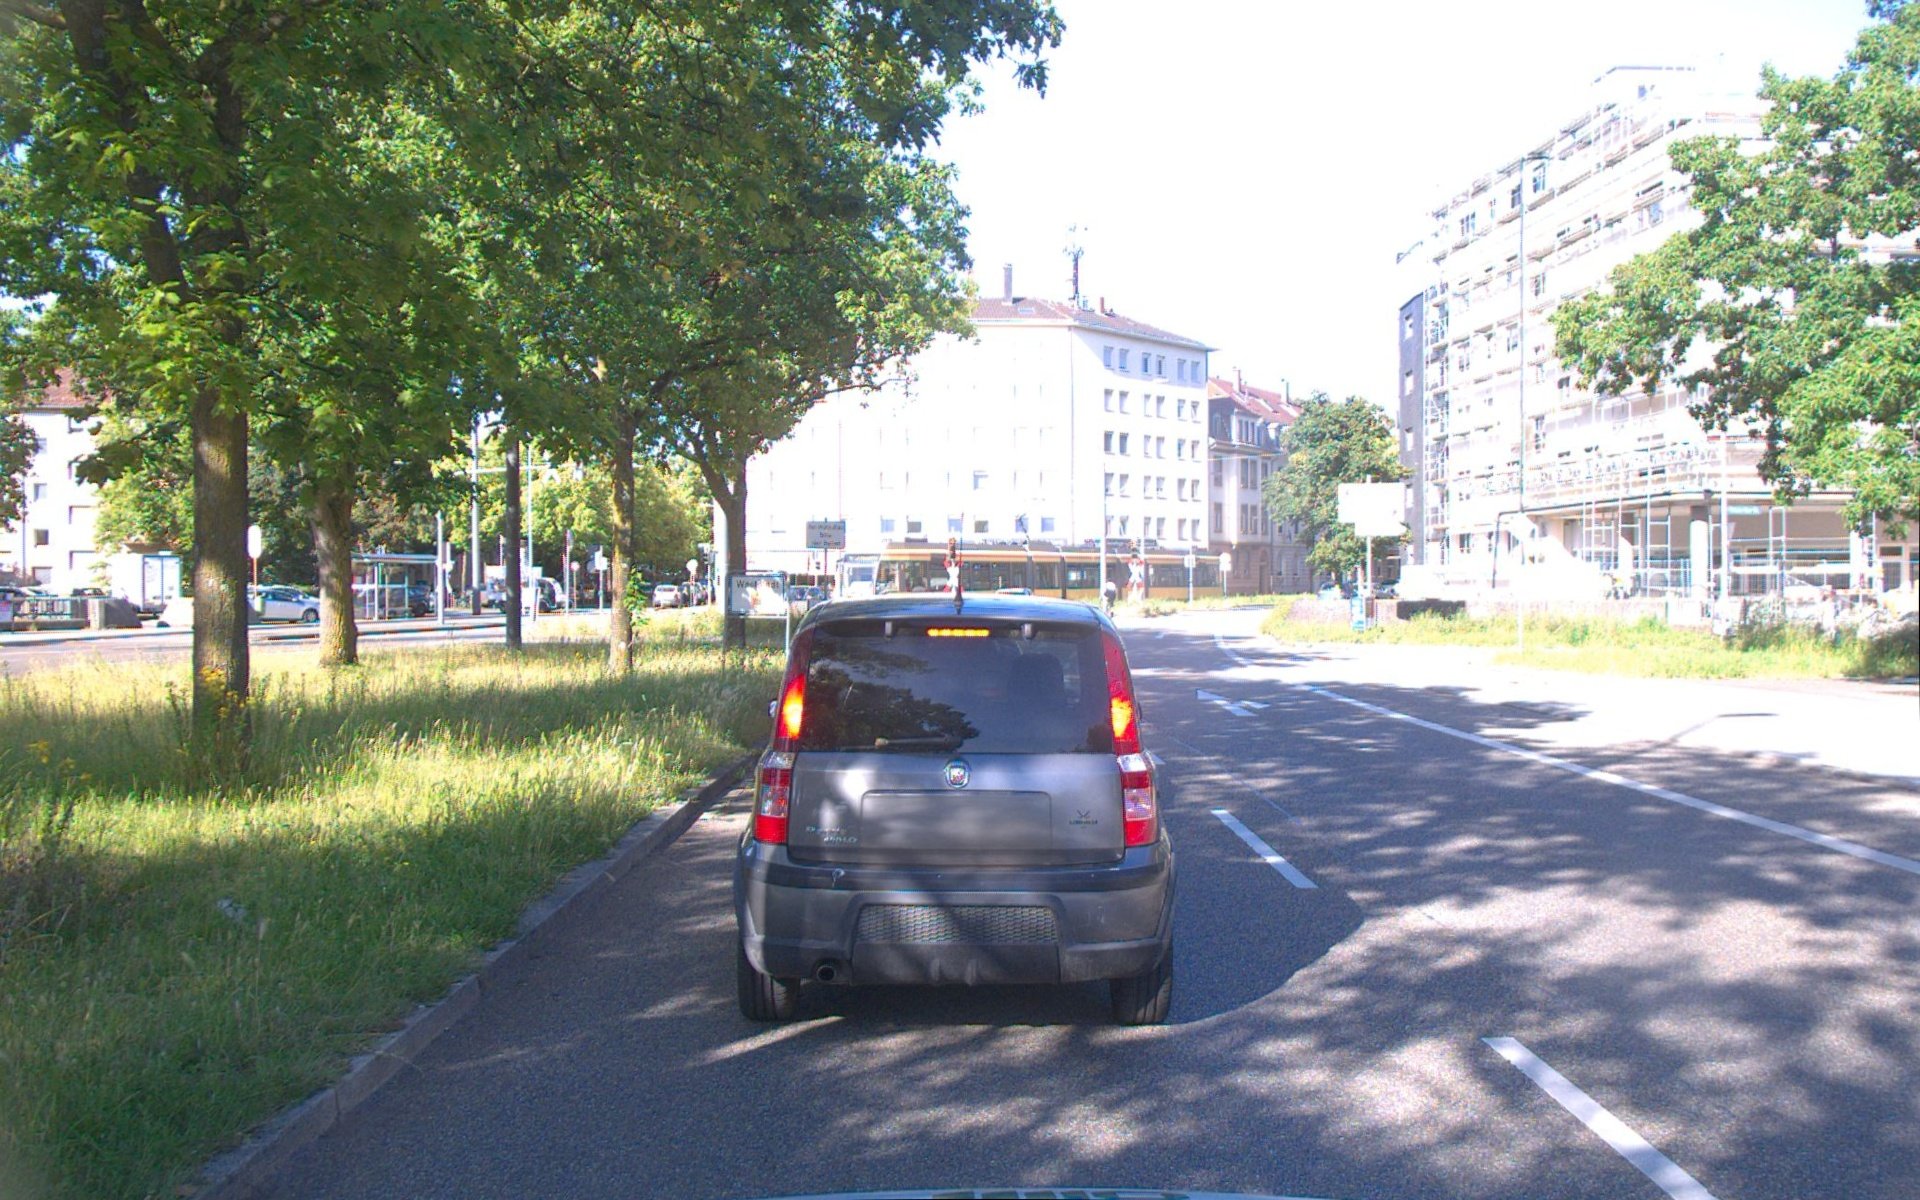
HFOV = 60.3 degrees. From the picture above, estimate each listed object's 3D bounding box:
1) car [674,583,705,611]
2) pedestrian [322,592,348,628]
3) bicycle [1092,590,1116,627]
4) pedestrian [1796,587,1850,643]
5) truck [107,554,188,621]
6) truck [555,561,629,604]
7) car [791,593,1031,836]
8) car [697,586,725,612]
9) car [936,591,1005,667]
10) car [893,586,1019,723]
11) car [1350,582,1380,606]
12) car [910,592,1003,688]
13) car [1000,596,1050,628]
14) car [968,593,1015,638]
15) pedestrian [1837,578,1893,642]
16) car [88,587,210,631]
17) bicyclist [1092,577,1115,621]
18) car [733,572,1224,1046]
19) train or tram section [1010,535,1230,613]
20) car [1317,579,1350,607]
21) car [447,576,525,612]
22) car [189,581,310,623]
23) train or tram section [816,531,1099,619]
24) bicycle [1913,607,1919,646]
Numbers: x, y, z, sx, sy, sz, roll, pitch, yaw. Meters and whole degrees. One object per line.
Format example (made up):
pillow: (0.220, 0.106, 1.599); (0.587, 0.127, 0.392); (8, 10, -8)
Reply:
car: (-20.149, -0.240, 123.279); (1.954, 2.049, 3.996); (0, 1, -5)
pedestrian: (-29.225, 0.470, 77.316); (0.904, 1.636, 0.794); (0, 0, 38)
bicycle: (4.874, 0.301, 56.072); (0.693, 1.219, 2.521); (1, 0, 2)
pedestrian: (23.021, 0.398, 44.127); (0.877, 1.472, 0.962); (0, 0, -15)
truck: (-35.740, -0.551, 72.684); (3.932, 2.854, 1.987); (0, 1, 44)
truck: (-28.354, -1.350, 127.363); (5.371, 3.224, 2.341); (0, 0, 28)
car: (-0.315, 0.678, 11.623); (1.434, 1.425, 3.393); (0, 1, -1)
car: (-20.034, -0.107, 132.999); (1.954, 2.049, 3.996); (0, 1, -5)
car: (0.181, 0.554, 33.855); (1.328, 1.475, 3.265); (0, 0, -1)
car: (-0.068, 0.602, 20.610); (1.434, 1.534, 3.504); (0, 1, -1)
car: (23.119, -0.336, 94.374); (1.495, 1.337, 3.289); (0, 1, 17)
car: (-0.077, 0.607, 27.289); (1.434, 1.449, 3.381); (0, 1, -1)
car: (2.288, 0.402, 57.697); (1.118, 1.083, 2.723); (0, 1, 17)
car: (0.922, 0.443, 49.601); (1.328, 1.304, 2.875); (0, 1, -1)
pedestrian: (24.236, 0.252, 44.295); (0.875, 1.682, 0.982); (0, 0, -19)
car: (-32.645, 0.340, 66.614); (1.961, 1.713, 3.983); (0, 1, 38)
bicyclist: (4.876, -0.031, 56.192); (0.726, 1.463, 0.845); (1, 0, 3)
car: (0.035, 0.657, 7.407); (1.595, 1.534, 3.999); (0, 1, -1)
train or tram section: (9.282, -1.389, 90.697); (3.236, 3.836, 20.759); (0, 1, 32)
car: (20.509, -0.392, 90.707); (1.646, 1.475, 3.574); (0, 1, 15)
car: (-27.970, -0.358, 97.655); (4.093, 2.049, 1.930); (0, 0, -3)
car: (-29.950, 0.050, 69.778); (1.961, 1.713, 4.302); (0, 1, 38)
train or tram section: (0.522, -1.137, 76.729); (3.237, 3.574, 19.332); (0, 1, 33)
bicycle: (25.029, 0.663, 41.579); (1.751, 0.961, 0.560); (0, 0, 14)
